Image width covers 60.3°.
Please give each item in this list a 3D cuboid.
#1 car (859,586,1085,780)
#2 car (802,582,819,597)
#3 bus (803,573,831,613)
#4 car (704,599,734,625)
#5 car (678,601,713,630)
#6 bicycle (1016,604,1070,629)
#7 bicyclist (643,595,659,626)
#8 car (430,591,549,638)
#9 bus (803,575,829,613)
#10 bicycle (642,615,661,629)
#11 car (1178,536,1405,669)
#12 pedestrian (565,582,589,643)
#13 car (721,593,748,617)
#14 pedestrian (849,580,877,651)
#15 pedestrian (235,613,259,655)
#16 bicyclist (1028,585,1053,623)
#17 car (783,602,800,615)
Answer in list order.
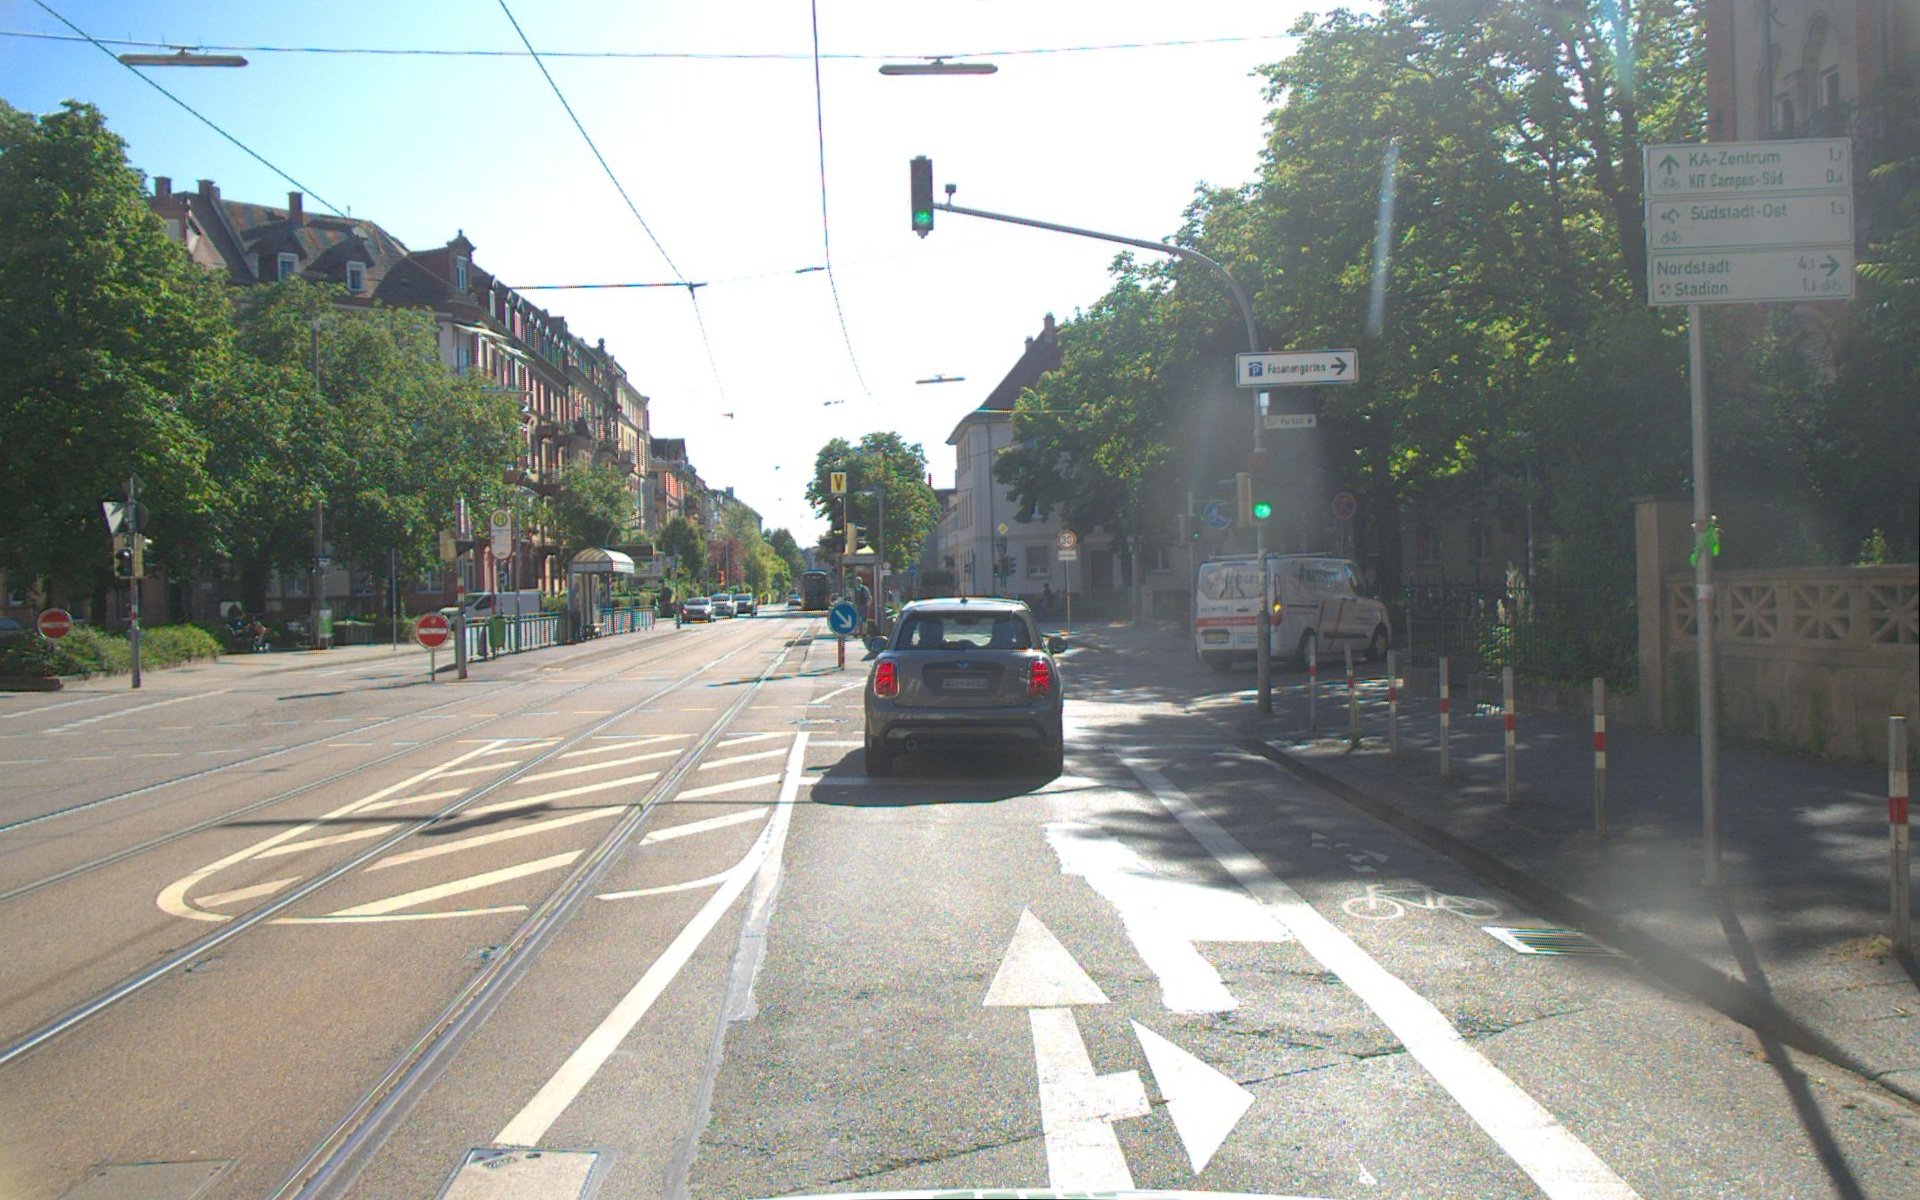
[{"bbox_3d":[0.021,0.663,15.098,1.779,1.514,3.998,-1,0,-2],"label":"car"},{"bbox_3d":[-16.739,-1.150,185.182,1.828,1.591,3.995,-1,0,-6],"label":"car"},{"bbox_3d":[-13.202,-0.590,152.382,2.340,3.558,7.373,0,0,-6],"label":"bus"},{"bbox_3d":[-15.776,0.766,108.368,1.741,1.646,3.995,-1,0,-6],"label":"car"},{"bbox_3d":[-15.453,0.926,96.803,1.741,1.646,3.995,-1,0,-6],"label":"car"},{"bbox_3d":[4.007,0.799,80.162,2.478,1.176,0.845,-1,-1,19],"label":"bicycle"},{"bbox_3d":[-17.218,0.591,92.181,0.699,1.694,0.734,-1,-1,0],"label":"bicyclist"},{"bbox_3d":[-21.306,0.651,75.046,1.964,2.049,5.001,-1,-1,41],"label":"car"},{"bbox_3d":[-13.966,-0.527,159.736,2.340,3.558,7.373,0,0,-6],"label":"bus"},{"bbox_3d":[-17.225,1.242,92.297,0.704,0.763,1.916,-1,0,0],"label":"bicycle"},{"bbox_3d":[6.214,0.043,30.561,2.085,2.247,4.920,-1,-1,39],"label":"car"},{"bbox_3d":[-11.701,0.375,50.507,0.594,1.826,0.578,-2,0,-6],"label":"pedestrian"},{"bbox_3d":[-16.364,0.375,120.255,1.741,1.646,3.995,-1,0,-6],"label":"car"},{"bbox_3d":[-2.850,0.447,48.596,0.780,2.049,0.740,-1,-1,-4],"label":"pedestrian"},{"bbox_3d":[-21.361,1.002,49.564,0.569,1.222,0.604,-2,0,-21],"label":"pedestrian"},{"bbox_3d":[3.912,0.202,80.218,1.033,1.843,0.820,-1,-1,19],"label":"bicyclist"},{"bbox_3d":[-22.252,1.094,218.912,1.954,1.624,3.998,-1,0,-3],"label":"car"}]
